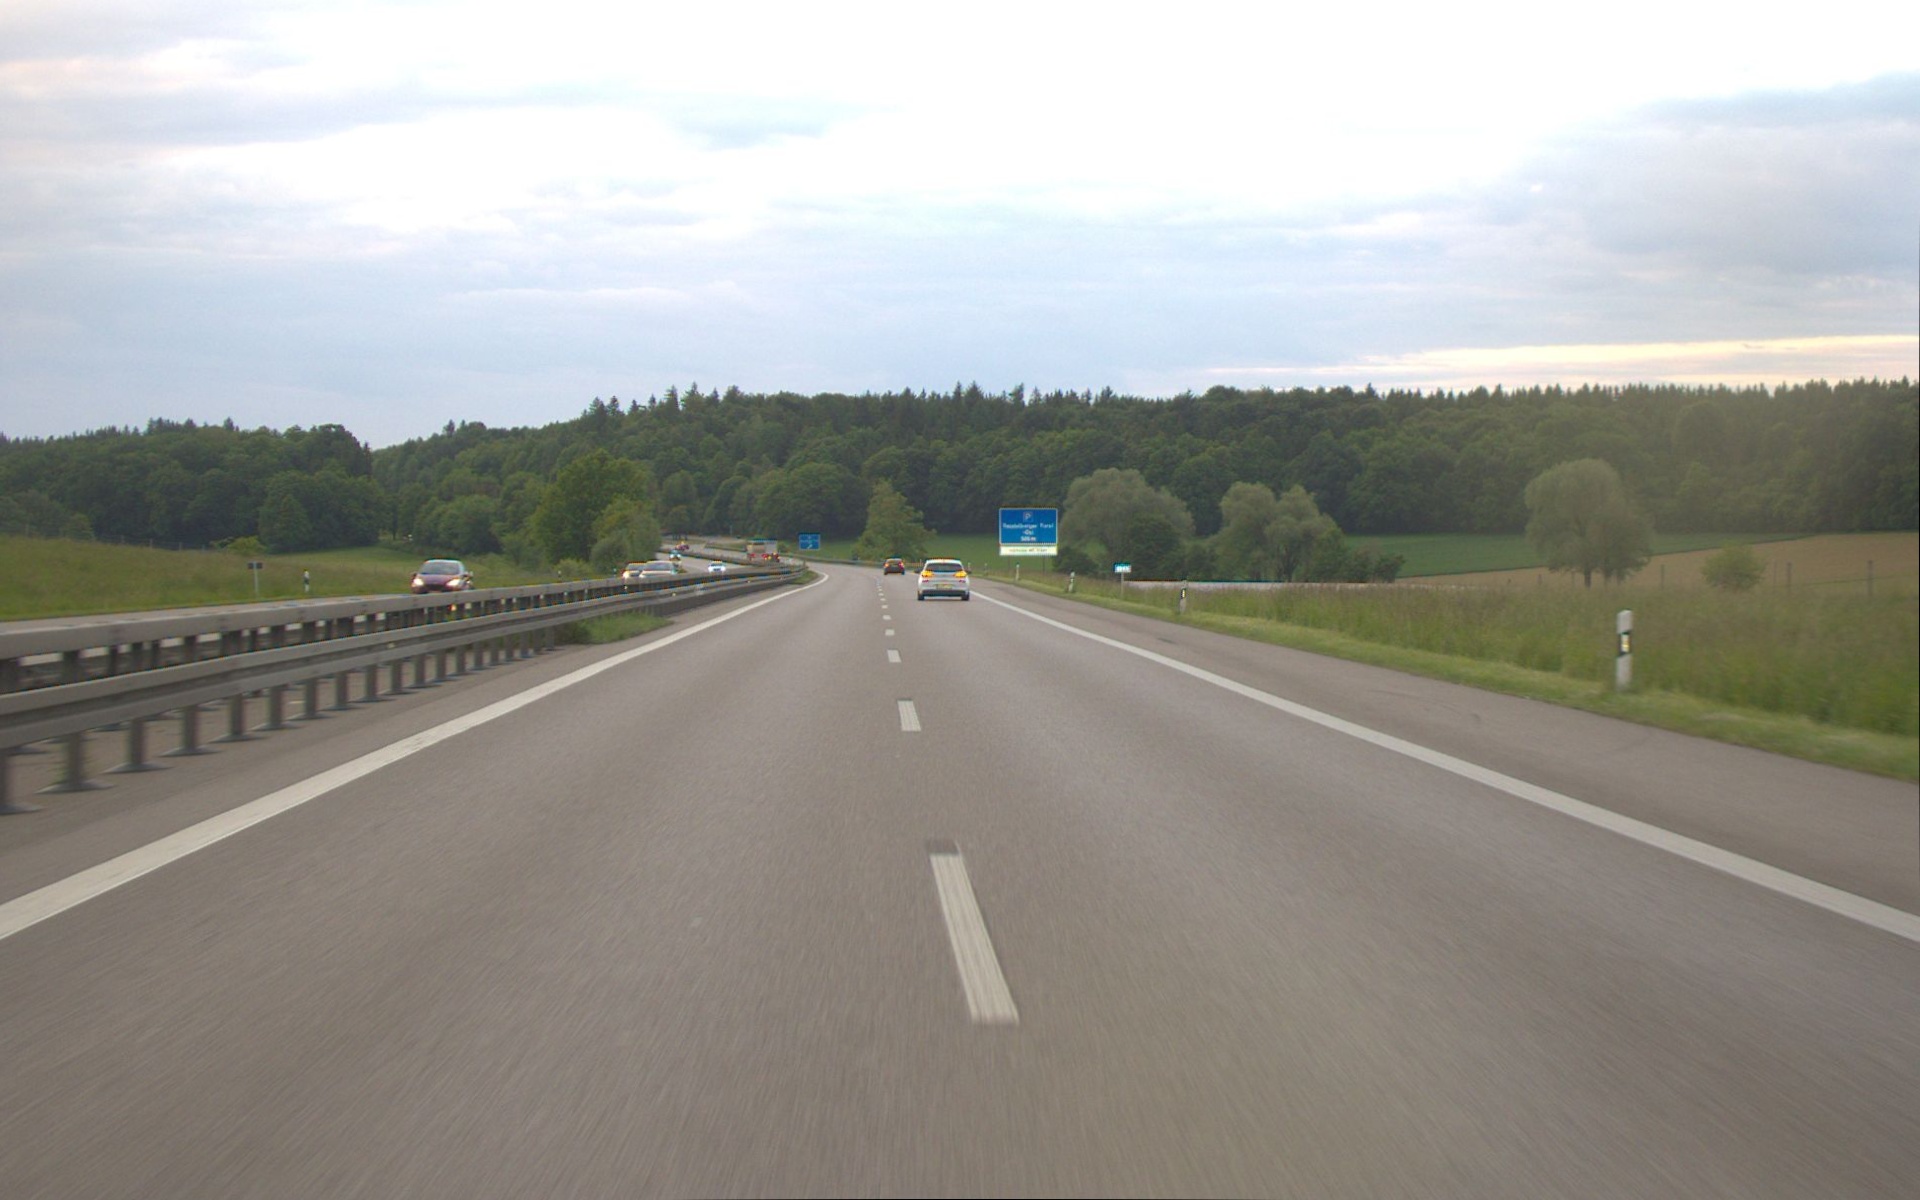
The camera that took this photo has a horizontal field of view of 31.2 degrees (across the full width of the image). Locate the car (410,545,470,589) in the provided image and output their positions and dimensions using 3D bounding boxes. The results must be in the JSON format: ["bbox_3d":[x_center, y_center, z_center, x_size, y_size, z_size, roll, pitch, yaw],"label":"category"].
[{"bbox_3d":[-17.977,-1.148,118.973,1.528,1.428,4.435,2,1,-2],"label":"car"}]

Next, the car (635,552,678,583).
[{"bbox_3d":[-15.329,-1.649,173.647,1.738,1.451,5.121,2,1,0],"label":"car"}]

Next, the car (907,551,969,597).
[{"bbox_3d":[-0.797,-0.922,121.198,1.951,1.526,4.081,2,1,-3],"label":"car"}]
